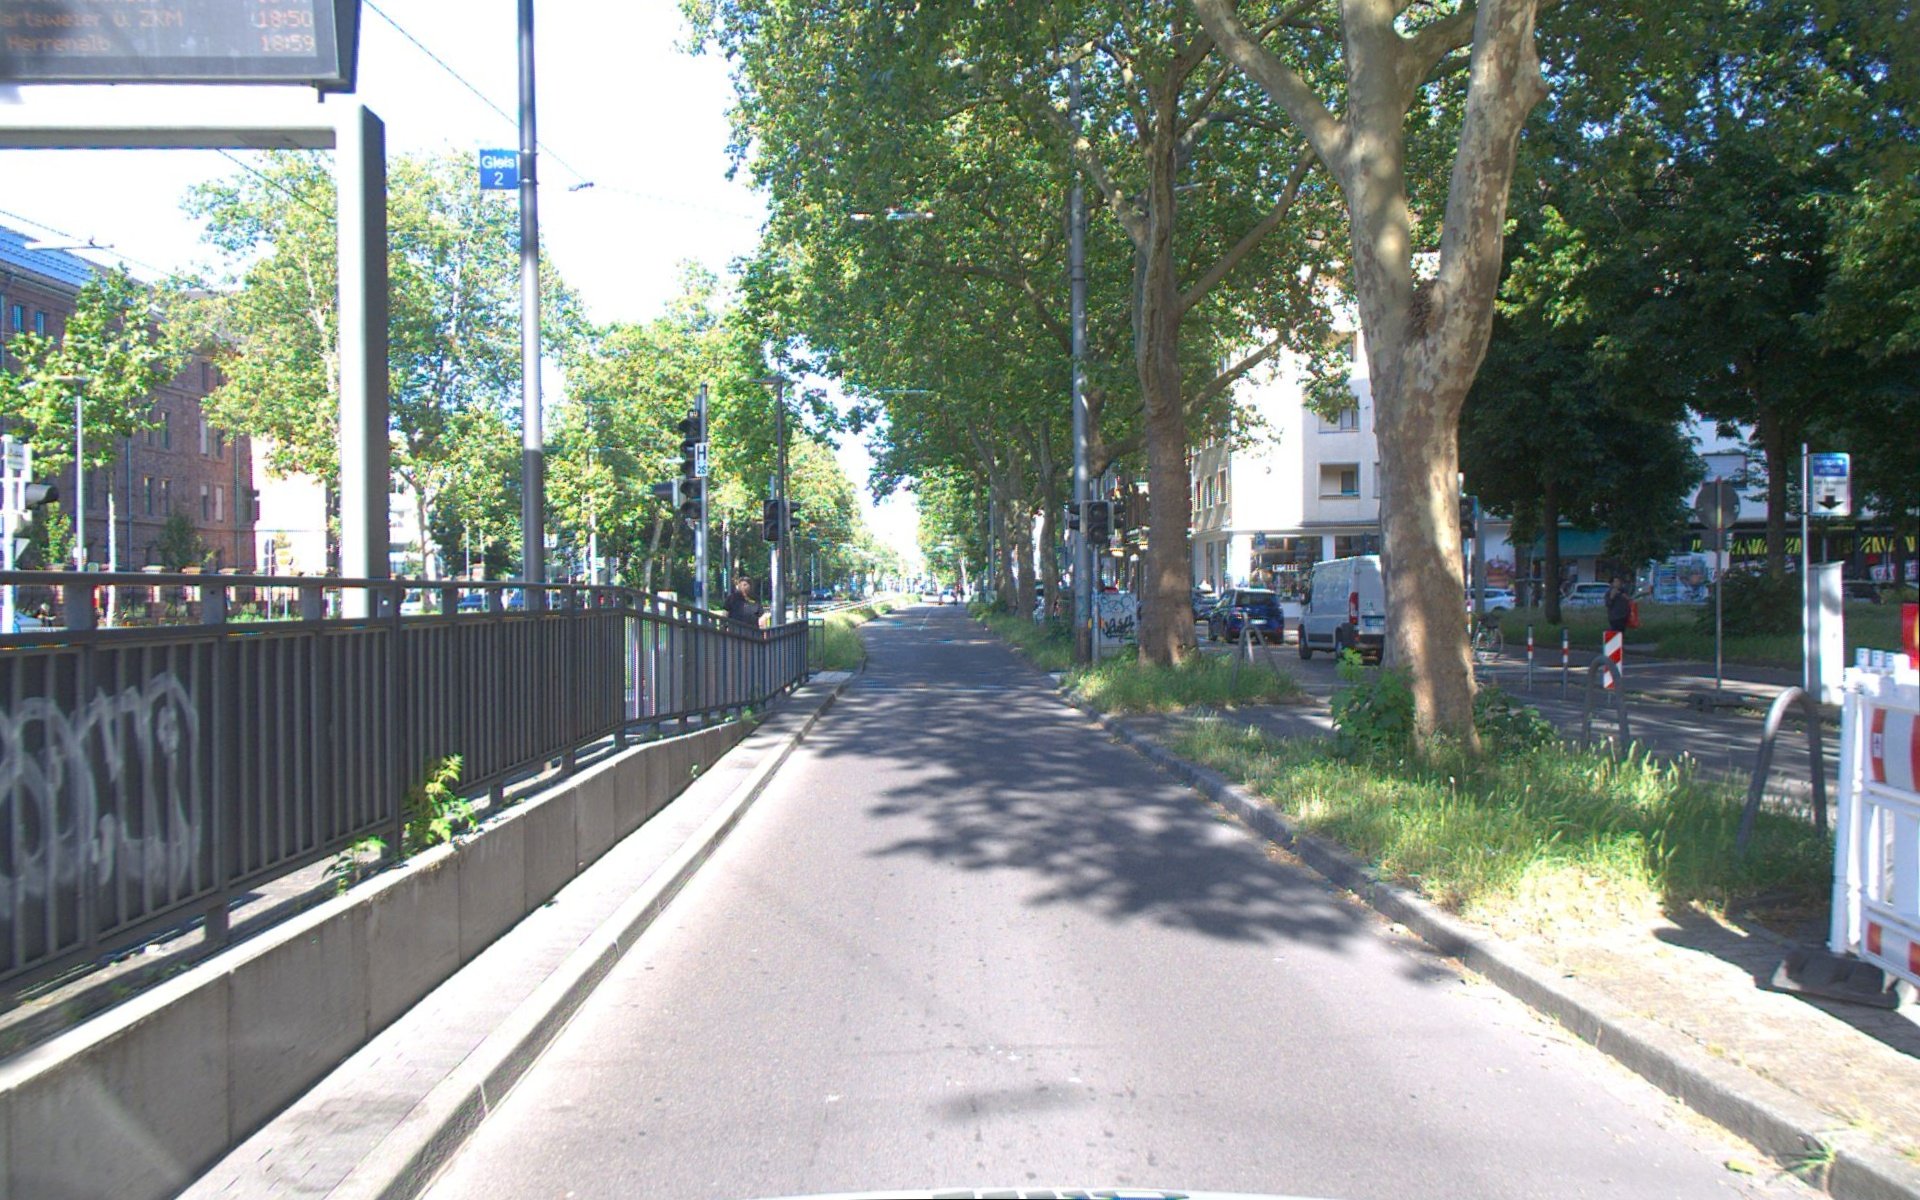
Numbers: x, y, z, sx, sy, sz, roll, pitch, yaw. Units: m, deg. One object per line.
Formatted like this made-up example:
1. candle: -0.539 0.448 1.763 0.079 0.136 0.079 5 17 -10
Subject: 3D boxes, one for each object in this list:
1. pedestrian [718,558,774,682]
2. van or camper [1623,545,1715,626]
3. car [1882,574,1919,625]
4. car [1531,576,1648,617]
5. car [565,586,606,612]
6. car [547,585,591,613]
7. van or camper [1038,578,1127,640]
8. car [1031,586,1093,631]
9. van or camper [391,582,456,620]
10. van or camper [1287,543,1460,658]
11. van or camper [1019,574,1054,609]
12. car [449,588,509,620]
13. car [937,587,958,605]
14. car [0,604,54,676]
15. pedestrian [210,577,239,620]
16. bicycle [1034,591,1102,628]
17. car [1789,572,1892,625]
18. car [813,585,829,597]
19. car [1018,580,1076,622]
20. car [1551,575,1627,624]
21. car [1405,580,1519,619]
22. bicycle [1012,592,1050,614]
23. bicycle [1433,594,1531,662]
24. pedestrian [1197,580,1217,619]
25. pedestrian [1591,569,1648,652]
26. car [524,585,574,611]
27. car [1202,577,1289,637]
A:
1. pedestrian: -3.019 0.274 23.372 0.697 1.710 0.772 -1 0 -2
2. van or camper: 24.442 -0.498 57.183 2.101 2.682 5.592 0 0 15
3. car: 32.617 -0.041 55.343 1.951 1.656 4.393 0 0 14
4. car: 25.724 -0.149 67.706 4.288 1.673 2.002 0 1 15
5. car: -27.239 -0.081 120.506 2.066 1.840 4.736 -1 1 -2
6. car: -27.179 -0.081 115.090 2.066 1.840 4.737 -1 1 -2
7. van or camper: 3.283 0.213 44.761 1.477 1.615 2.826 0 0 -18
8. car: 3.365 0.249 55.311 1.718 1.422 5.025 0 0 -1
9. van or camper: -26.776 0.052 82.699 1.954 1.819 4.430 -1 0 -3
10. van or camper: 8.907 -0.007 36.216 2.244 2.326 5.821 0 0 -1
11. van or camper: 4.974 -0.565 108.323 1.797 2.134 4.772 2 0 -2
12. car: -27.110 0.189 93.366 1.953 1.678 4.827 0 1 0
13. car: -1.248 -0.417 160.605 1.980 1.691 3.999 0 0 -1
14. car: -23.135 0.949 38.135 1.728 1.650 4.478 0 1 5
15. pedestrian: -33.290 -0.074 74.859 0.882 1.932 0.942 -1 0 0
16. bicycle: 3.328 0.292 51.093 2.028 1.144 0.676 0 0 -2
17. car: 29.711 -0.065 55.940 1.951 1.698 4.749 0 0 14
18. car: -19.997 -1.295 237.883 1.758 1.534 4.339 -3 0 0
19. car: 3.562 0.033 68.480 1.865 1.664 4.821 0 1 -3
20. car: 21.921 -0.037 57.803 1.951 1.656 4.393 0 0 14
21. car: 20.918 -0.024 69.108 4.488 1.608 2.002 0 1 14
22. bicycle: 3.118 0.141 72.369 1.749 0.944 0.644 -1 0 -42
23. bicycle: 10.202 0.537 32.363 1.572 1.285 0.962 0 0 -6
24. pedestrian: 11.101 -0.043 74.433 0.779 1.734 0.724 -1 0 -1
25. pedestrian: 13.263 0.204 33.268 0.717 1.644 1.035 0 0 -1
26. car: -27.208 -0.139 109.513 1.952 1.643 4.422 0 1 3
27. car: 8.863 0.190 51.754 1.782 1.772 5.167 0 0 -1
